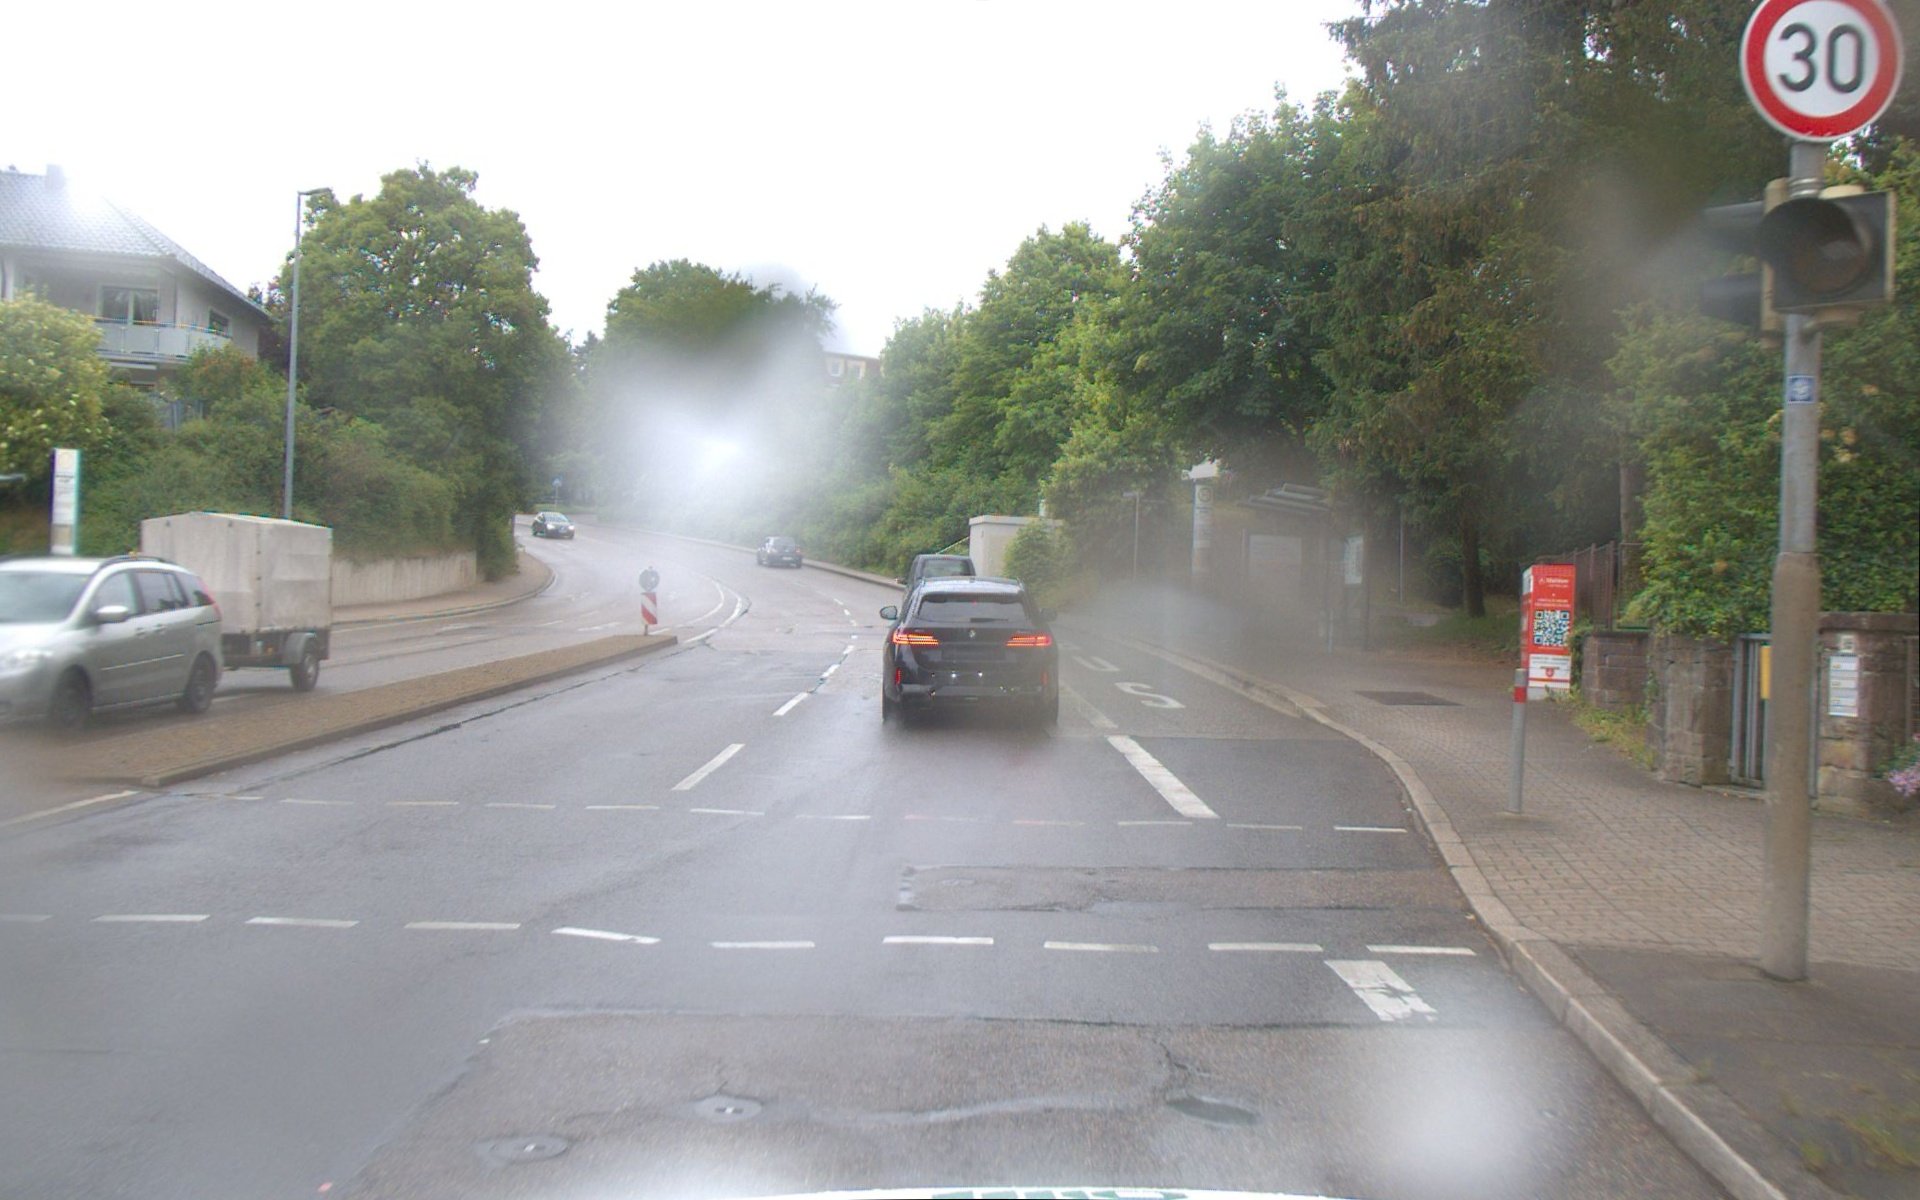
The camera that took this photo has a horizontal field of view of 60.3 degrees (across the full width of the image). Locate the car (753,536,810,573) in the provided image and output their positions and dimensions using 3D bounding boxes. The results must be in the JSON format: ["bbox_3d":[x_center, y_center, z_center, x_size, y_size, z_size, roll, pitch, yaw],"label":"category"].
[{"bbox_3d":[-8.869,-2.242,82.027,1.824,1.691,3.976,2,1,-21],"label":"car"}]

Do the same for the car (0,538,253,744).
[{"bbox_3d":[-8.644,0.286,15.974,1.861,1.712,4.478,1,1,-3],"label":"car"}]

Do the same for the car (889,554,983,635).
[{"bbox_3d":[-0.634,-0.180,39.983,1.955,1.779,3.996,1,2,-5],"label":"car"}]

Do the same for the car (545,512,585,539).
[{"bbox_3d":[-24.003,-4.503,100.358,1.865,1.513,4.208,0,2,-21],"label":"car"}]

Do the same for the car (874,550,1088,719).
[{"bbox_3d":[0.097,0.423,18.710,1.954,1.614,4.657,2,-2,-5],"label":"car"}]

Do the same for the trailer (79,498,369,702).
[{"bbox_3d":[-8.832,0.001,20.255,1.858,2.217,4.033,1,0,-3],"label":"trailer"}]
